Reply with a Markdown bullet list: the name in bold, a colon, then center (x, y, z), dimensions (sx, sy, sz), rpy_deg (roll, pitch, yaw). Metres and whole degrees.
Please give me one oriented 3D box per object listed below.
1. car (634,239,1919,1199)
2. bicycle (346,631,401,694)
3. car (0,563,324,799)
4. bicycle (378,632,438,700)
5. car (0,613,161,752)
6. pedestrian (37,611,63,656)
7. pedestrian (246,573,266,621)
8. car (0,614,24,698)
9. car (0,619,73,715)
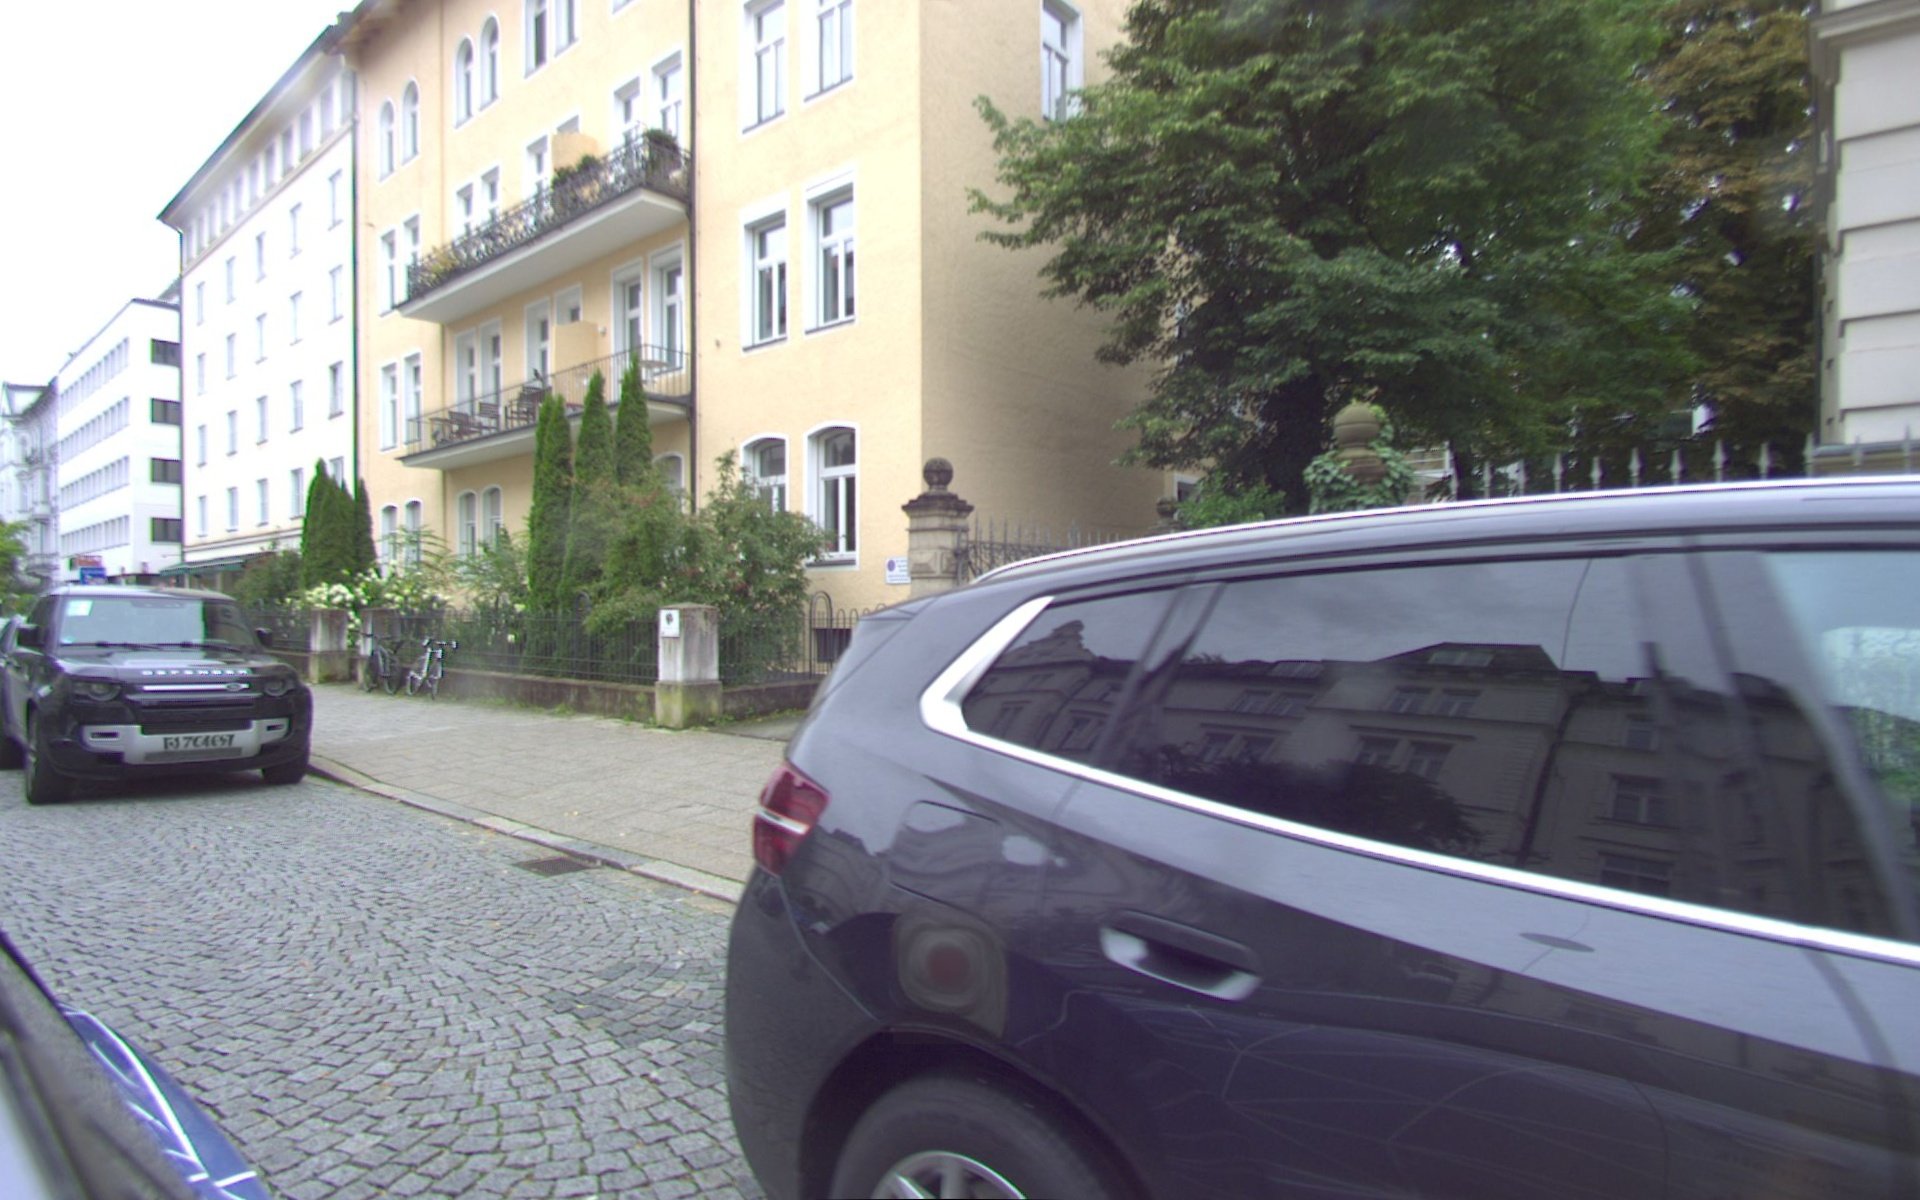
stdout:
- **car**: center (1.576, 0.555, 1.326), dimensions (4.387, 1.730, 1.756), rpy_deg (-1, 0, 40)
- **bicycle**: center (-10.080, 1.058, 17.373), dimensions (1.572, 1.010, 0.348), rpy_deg (-1, 0, 42)
- **car**: center (-8.064, 0.635, 9.828), dimensions (4.721, 1.751, 1.961), rpy_deg (-2, 0, 42)
- **bicycle**: center (-8.861, 1.038, 16.224), dimensions (1.572, 1.010, 0.348), rpy_deg (-1, 0, 42)
- **car**: center (-12.161, 0.987, 13.555), dimensions (4.054, 1.602, 1.563), rpy_deg (0, -2, 41)
- **pedestrian**: center (-38.105, 1.378, 42.377), dimensions (0.812, 1.854, 0.608), rpy_deg (-1, 0, 34)
- **pedestrian**: center (-24.501, -0.119, 35.237), dimensions (0.472, 1.655, 0.497), rpy_deg (-1, 0, -45)
- **car**: center (-21.393, 1.165, 21.547), dimensions (4.390, 1.660, 1.755), rpy_deg (-1, 0, 42)
- **car**: center (-16.673, 1.088, 17.250), dimensions (4.389, 1.440, 1.755), rpy_deg (-1, 0, 41)
